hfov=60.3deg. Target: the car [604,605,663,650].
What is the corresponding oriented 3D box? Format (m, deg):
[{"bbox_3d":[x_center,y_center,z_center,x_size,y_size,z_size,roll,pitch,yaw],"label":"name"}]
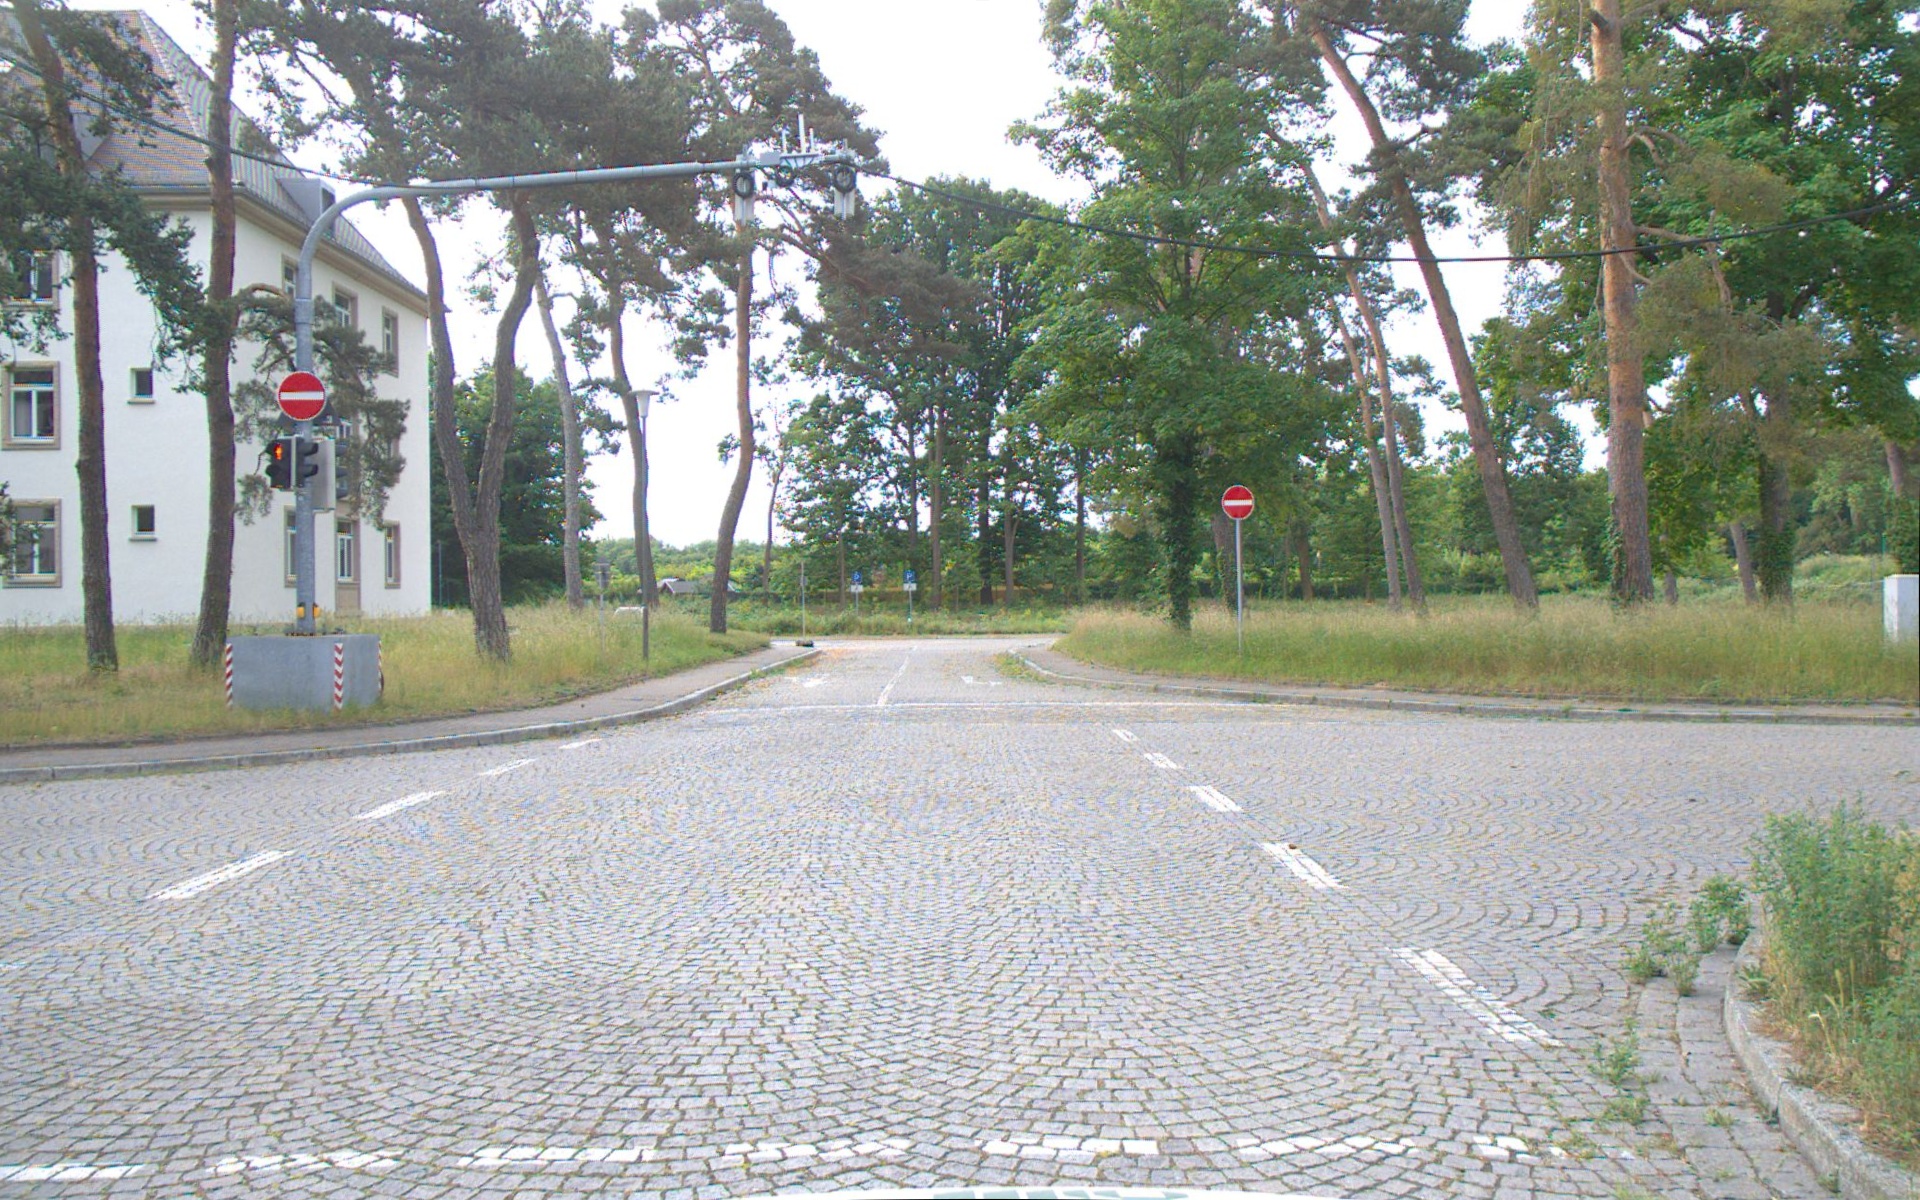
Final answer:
[{"bbox_3d":[-14.132,1.179,71.772,1.954,1.878,3.997,1,0,-3],"label":"car"}]
